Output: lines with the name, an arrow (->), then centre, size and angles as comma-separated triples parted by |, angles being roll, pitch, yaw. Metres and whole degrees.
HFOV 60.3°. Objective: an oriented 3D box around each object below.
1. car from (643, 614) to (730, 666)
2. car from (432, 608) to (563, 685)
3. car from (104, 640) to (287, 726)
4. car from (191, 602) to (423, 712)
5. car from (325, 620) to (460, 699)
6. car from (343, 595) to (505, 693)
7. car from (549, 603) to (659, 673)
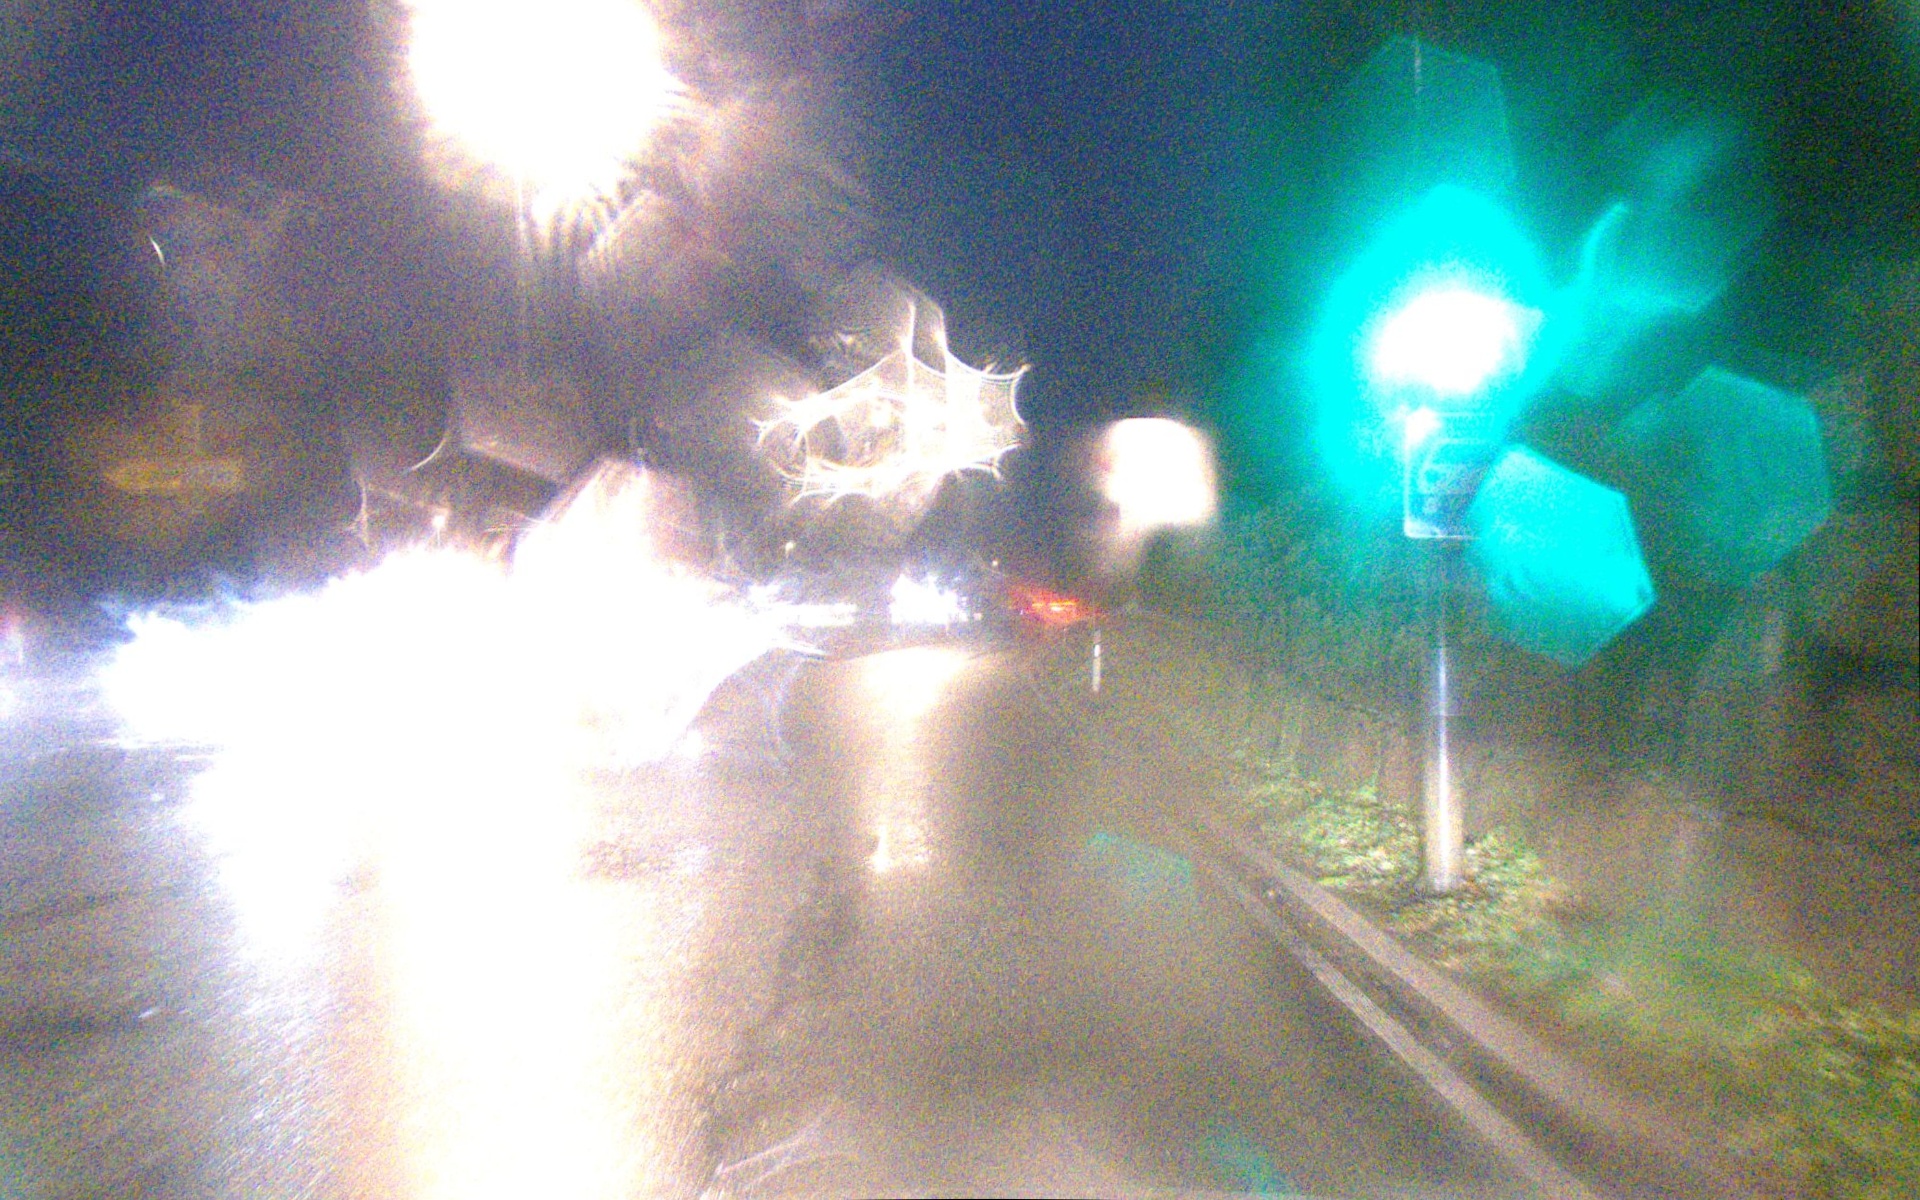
car -> -8.545, 1.271, 52.076 | 1.672, 1.561, 4.602 | 0, -2, 4
car -> -9.871, 0.997, 35.562 | 1.552, 1.552, 3.653 | 0, -2, 4
car -> -14.065, 1.496, 30.655 | 1.634, 1.479, 3.727 | 0, -2, 0
car -> -10.357, 0.863, 26.643 | 1.663, 1.599, 4.713 | 0, -1, 3
car -> -13.216, 1.369, 38.769 | 1.954, 1.750, 3.997 | 0, -2, -3
car -> -10.031, 0.829, 31.258 | 1.646, 1.721, 3.949 | 0, -2, 2
car -> -9.175, 0.979, 42.938 | 1.681, 1.733, 4.145 | 0, -1, 5
